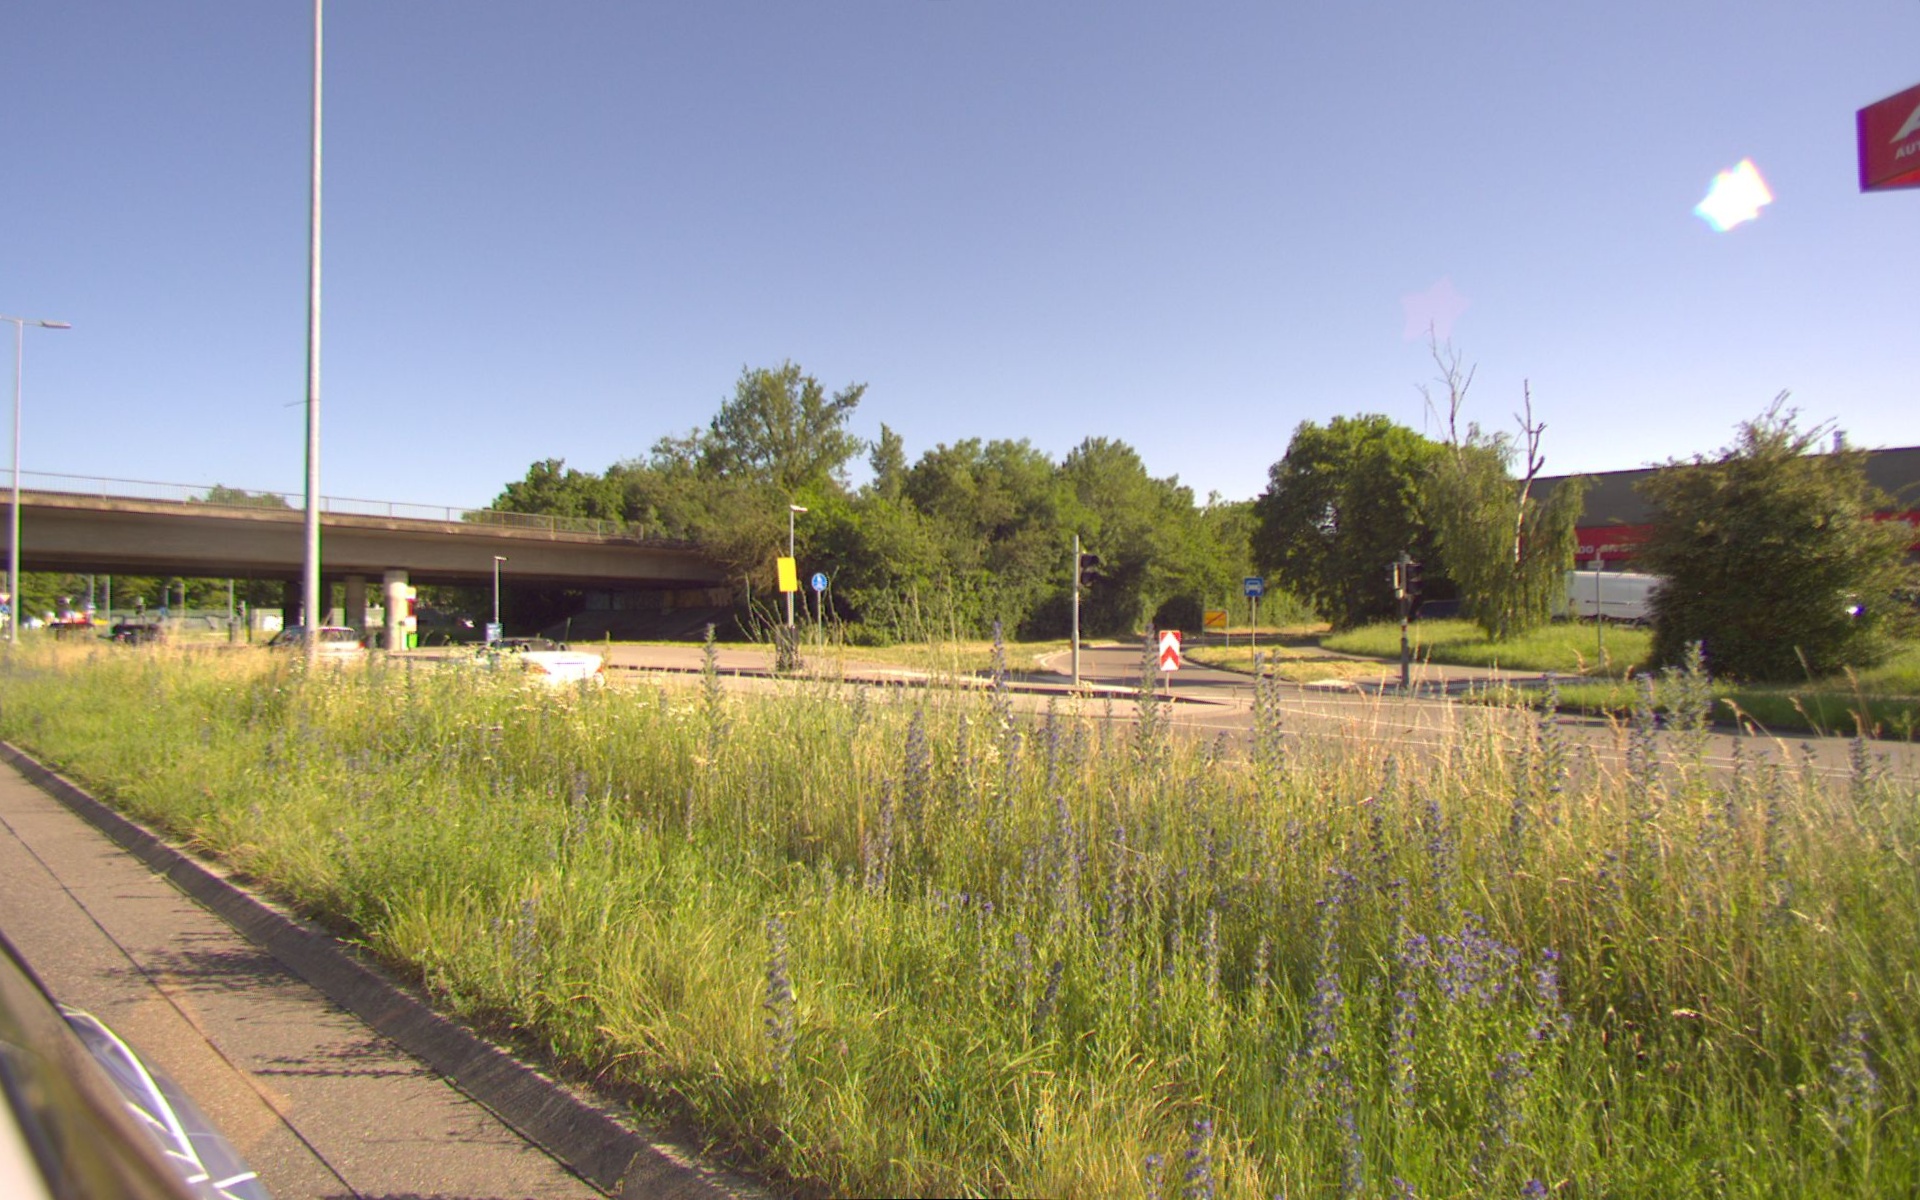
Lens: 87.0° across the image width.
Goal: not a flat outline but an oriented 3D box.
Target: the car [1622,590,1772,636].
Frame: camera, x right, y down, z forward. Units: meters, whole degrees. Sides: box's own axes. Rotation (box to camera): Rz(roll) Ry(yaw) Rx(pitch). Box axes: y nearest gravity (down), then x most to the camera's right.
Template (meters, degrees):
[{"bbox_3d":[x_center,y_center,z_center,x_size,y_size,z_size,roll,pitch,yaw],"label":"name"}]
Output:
[{"bbox_3d":[24.420,0.436,33.578,4.061,1.466,1.901,0,-2,-16],"label":"car"}]

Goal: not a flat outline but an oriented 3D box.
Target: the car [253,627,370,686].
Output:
[{"bbox_3d":[-18.265,1.552,28.466,3.586,1.542,1.618,-1,-2,36],"label":"car"}]

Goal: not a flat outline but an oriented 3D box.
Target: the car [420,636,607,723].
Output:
[{"bbox_3d":[-8.543,1.417,19.229,4.100,1.455,1.616,-1,-2,40],"label":"car"}]

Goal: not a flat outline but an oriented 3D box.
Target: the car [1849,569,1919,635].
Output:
[{"bbox_3d":[24.283,0.073,25.119,4.060,1.563,1.902,1,-2,-26],"label":"car"}]

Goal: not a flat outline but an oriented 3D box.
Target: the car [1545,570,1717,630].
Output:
[{"bbox_3d":[25.231,0.031,38.244,4.990,2.168,1.890,0,-2,10],"label":"car"}]

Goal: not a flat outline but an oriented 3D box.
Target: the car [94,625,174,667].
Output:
[{"bbox_3d":[-31.805,1.741,38.946,3.587,1.542,1.617,-1,-2,38],"label":"car"}]
